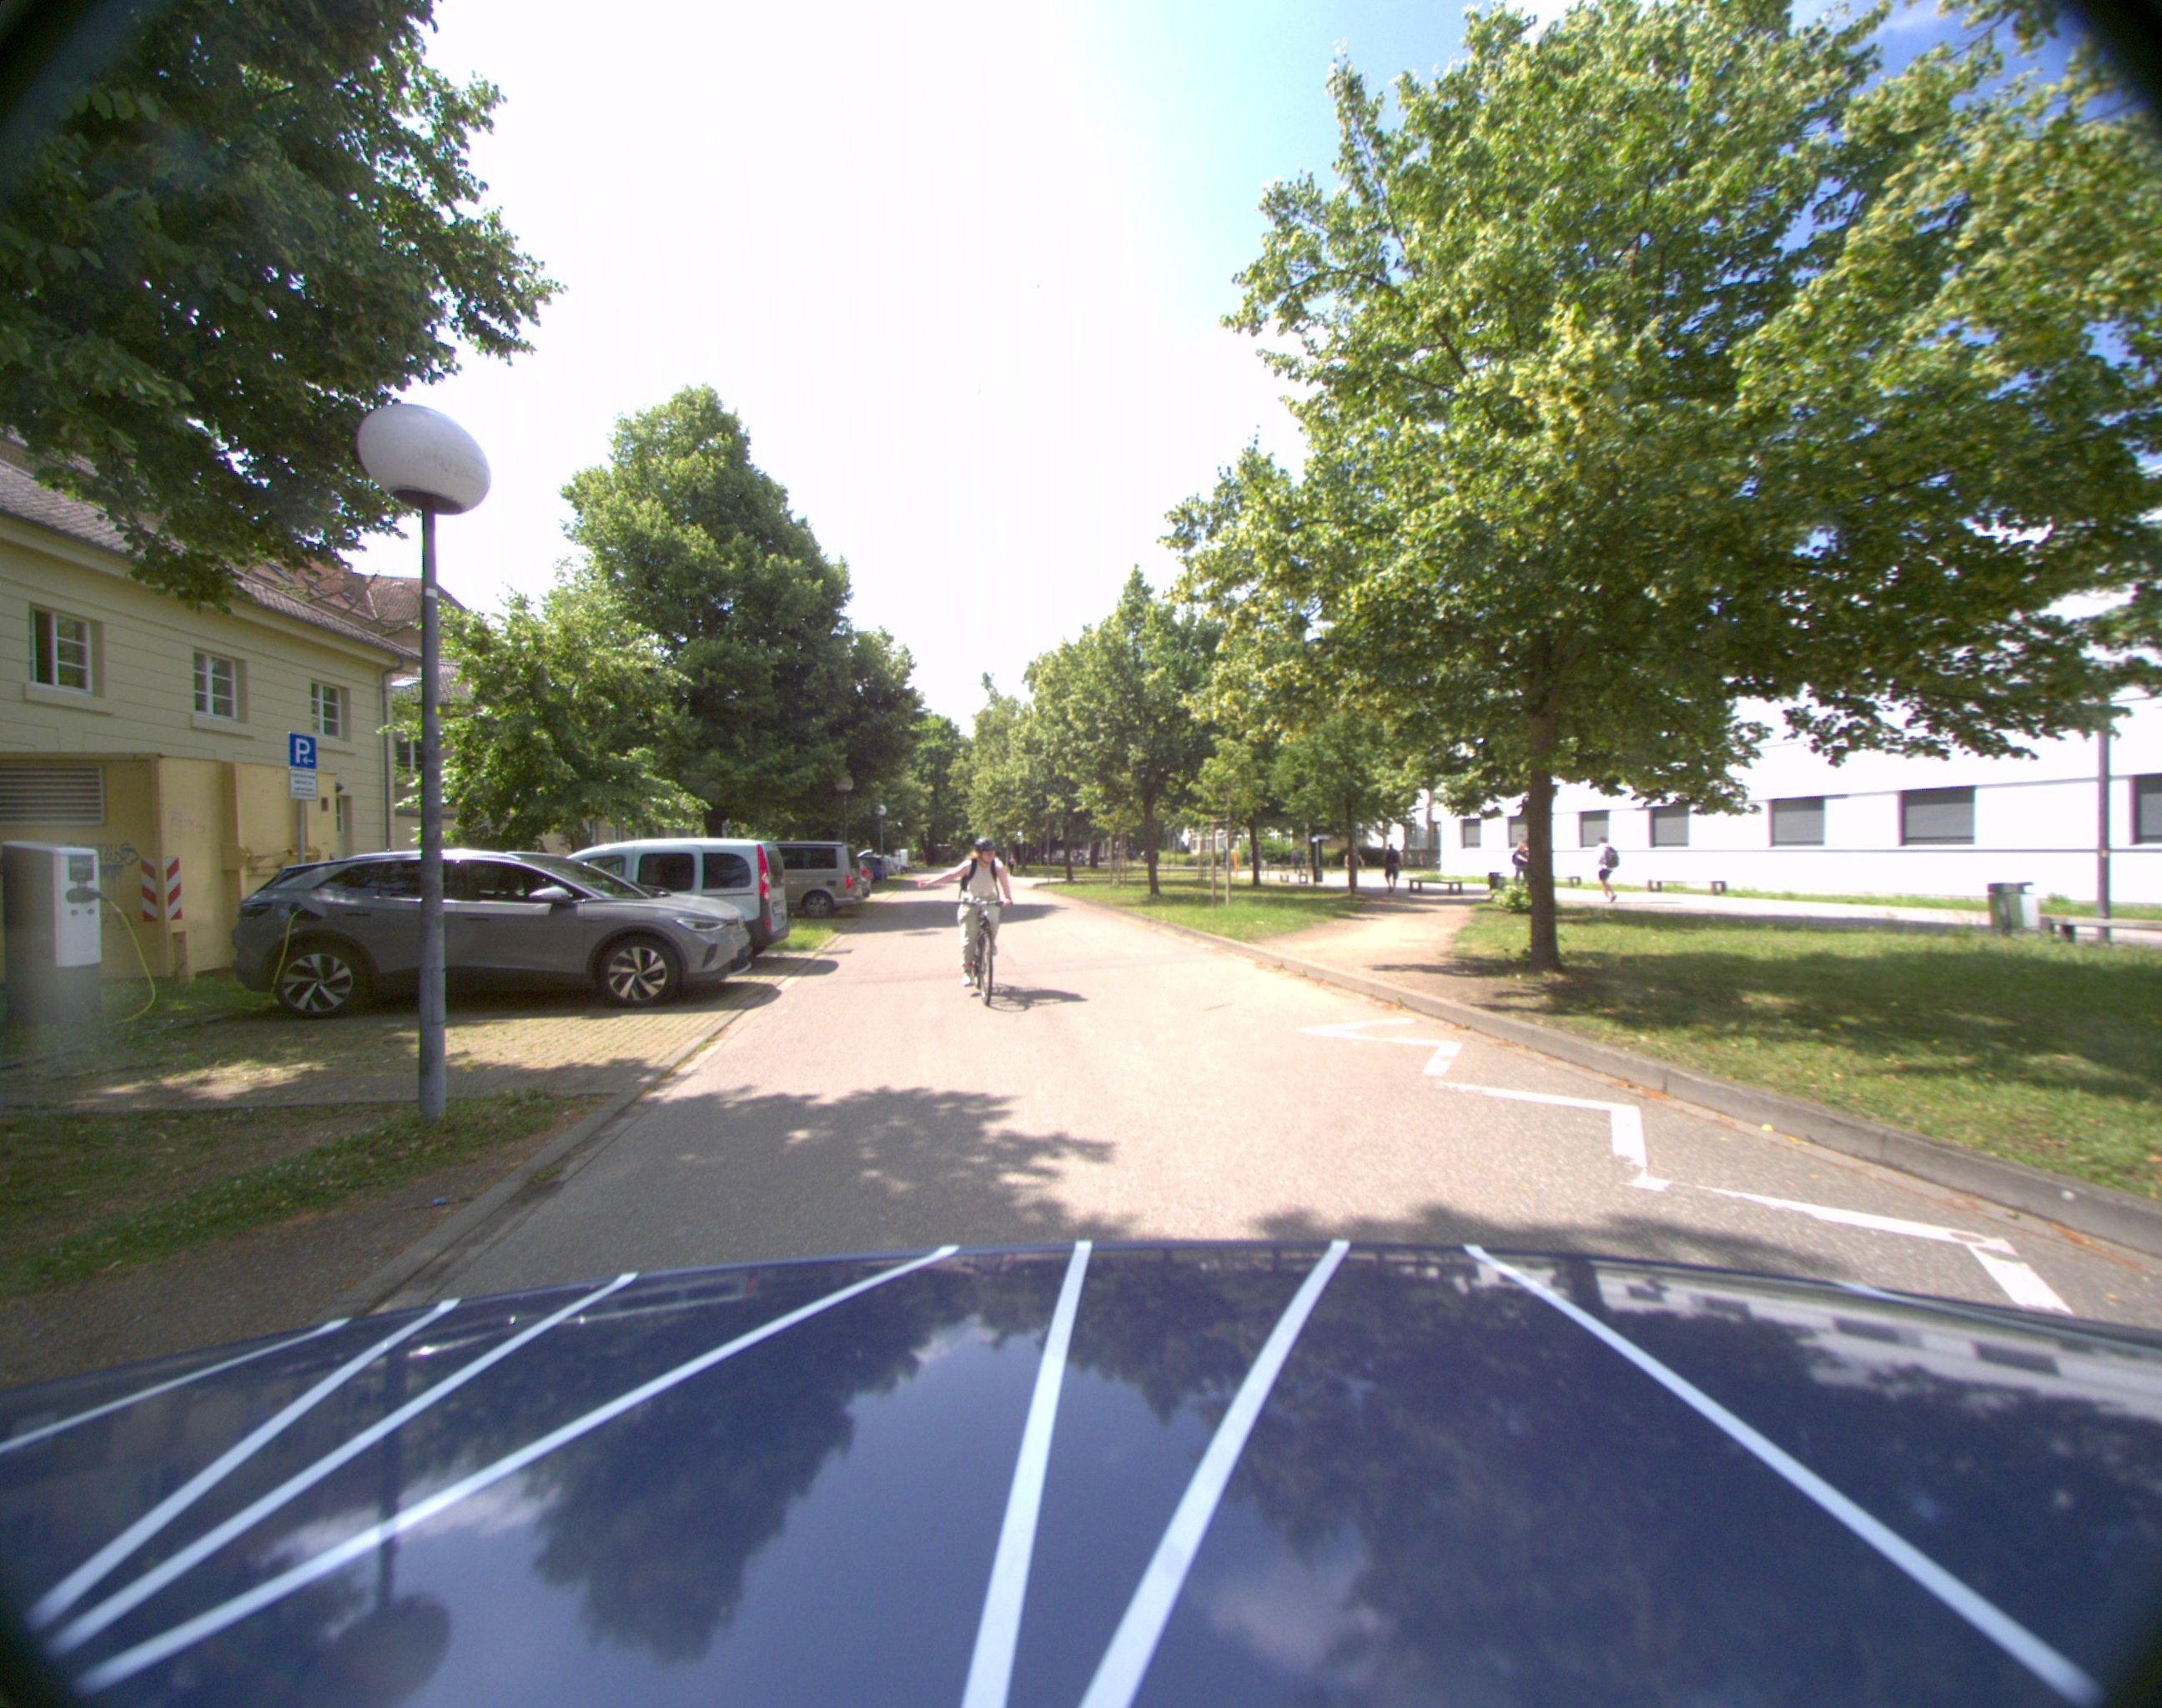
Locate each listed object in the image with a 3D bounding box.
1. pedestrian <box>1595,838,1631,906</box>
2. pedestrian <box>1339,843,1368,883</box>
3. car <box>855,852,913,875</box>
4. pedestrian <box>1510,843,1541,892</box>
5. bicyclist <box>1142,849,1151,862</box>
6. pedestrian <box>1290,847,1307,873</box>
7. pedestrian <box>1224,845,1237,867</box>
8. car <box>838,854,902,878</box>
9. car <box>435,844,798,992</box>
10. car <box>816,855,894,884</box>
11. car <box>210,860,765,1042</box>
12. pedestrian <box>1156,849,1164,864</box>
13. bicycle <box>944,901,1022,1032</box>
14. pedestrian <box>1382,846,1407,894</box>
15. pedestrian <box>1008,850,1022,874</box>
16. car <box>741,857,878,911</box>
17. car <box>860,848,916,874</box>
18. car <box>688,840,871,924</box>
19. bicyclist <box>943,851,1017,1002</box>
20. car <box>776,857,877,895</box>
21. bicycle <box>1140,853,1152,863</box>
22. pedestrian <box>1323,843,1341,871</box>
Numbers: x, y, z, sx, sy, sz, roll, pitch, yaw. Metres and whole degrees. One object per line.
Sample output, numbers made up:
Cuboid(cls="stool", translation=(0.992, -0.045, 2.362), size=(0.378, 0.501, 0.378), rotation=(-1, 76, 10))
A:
Cuboid(cls="pedestrian", translation=(14.099, 0.469, 20.128), size=(0.709, 1.760, 0.832), rotation=(0, 1, 40))
Cuboid(cls="pedestrian", translation=(12.033, 0.388, 33.592), size=(0.794, 1.765, 1.094), rotation=(-1, 1, -5))
Cuboid(cls="car", translation=(-14.113, 0.694, 54.569), size=(3.855, 1.566, 1.701), rotation=(-1, 1, -9))
Cuboid(cls="pedestrian", translation=(15.578, 0.460, 26.649), size=(0.629, 1.678, 0.724), rotation=(-1, 1, -10))
Cuboid(cls="bicyclist", translation=(7.101, 0.143, 82.629), size=(0.779, 1.325, 0.827), rotation=(-1, 1, -10))
Cuboid(cls="pedestrian", translation=(13.817, 0.381, 48.185), size=(0.849, 1.639, 0.803), rotation=(-1, 1, 1))
Cuboid(cls="pedestrian", translation=(11.875, 0.171, 60.460), size=(0.797, 1.712, 0.634), rotation=(-1, 1, -10))
Cuboid(cls="car", translation=(-13.970, 0.761, 50.444), size=(3.855, 1.513, 1.722), rotation=(-1, 1, -9))
Cuboid(cls="car", translation=(-6.323, 0.801, 10.851), size=(4.001, 1.827, 1.822), rotation=(-1, 1, -11))
Cuboid(cls="car", translation=(-12.225, 0.817, 41.374), size=(3.855, 1.479, 1.722), rotation=(-1, 1, -9))
Cuboid(cls="car", translation=(-5.983, 0.896, 8.298), size=(4.364, 1.642, 1.893), rotation=(0, 0, -11))
Cuboid(cls="pedestrian", translation=(8.320, 0.246, 80.256), size=(0.596, 1.619, 0.762), rotation=(-1, 1, -10))
Cuboid(cls="bicycle", translation=(-1.098, 1.108, 8.135), size=(0.675, 1.066, 2.134), rotation=(-2, 0, -10))
Cuboid(cls="pedestrian", translation=(11.029, 0.554, 26.719), size=(0.725, 1.647, 0.717), rotation=(0, 1, 31))
Cuboid(cls="pedestrian", translation=(-4.254, 0.520, 48.769), size=(0.797, 1.479, 0.634), rotation=(-1, 1, -10))
Cuboid(cls="car", translation=(-8.675, 0.921, 24.588), size=(3.855, 1.585, 1.784), rotation=(-1, 1, -9))
Cuboid(cls="car", translation=(-14.510, 0.491, 57.302), size=(3.855, 1.869, 1.779), rotation=(-1, 1, -9))
Cuboid(cls="car", translation=(-7.709, 0.667, 19.835), size=(4.052, 2.002, 1.998), rotation=(-1, 1, -9))
Cuboid(cls="bicyclist", translation=(-1.099, 0.722, 8.140), size=(0.675, 1.470, 1.061), rotation=(-3, 1, -10))
Cuboid(cls="car", translation=(-10.941, 0.928, 32.858), size=(3.855, 1.525, 1.784), rotation=(-1, 1, -9))
Cuboid(cls="bicycle", translation=(7.079, 0.469, 82.783), size=(0.779, 1.026, 2.147), rotation=(-1, 1, -10))
Cuboid(cls="pedestrian", translation=(16.420, 0.206, 49.703), size=(0.850, 1.813, 0.803), rotation=(-1, 1, -8))
